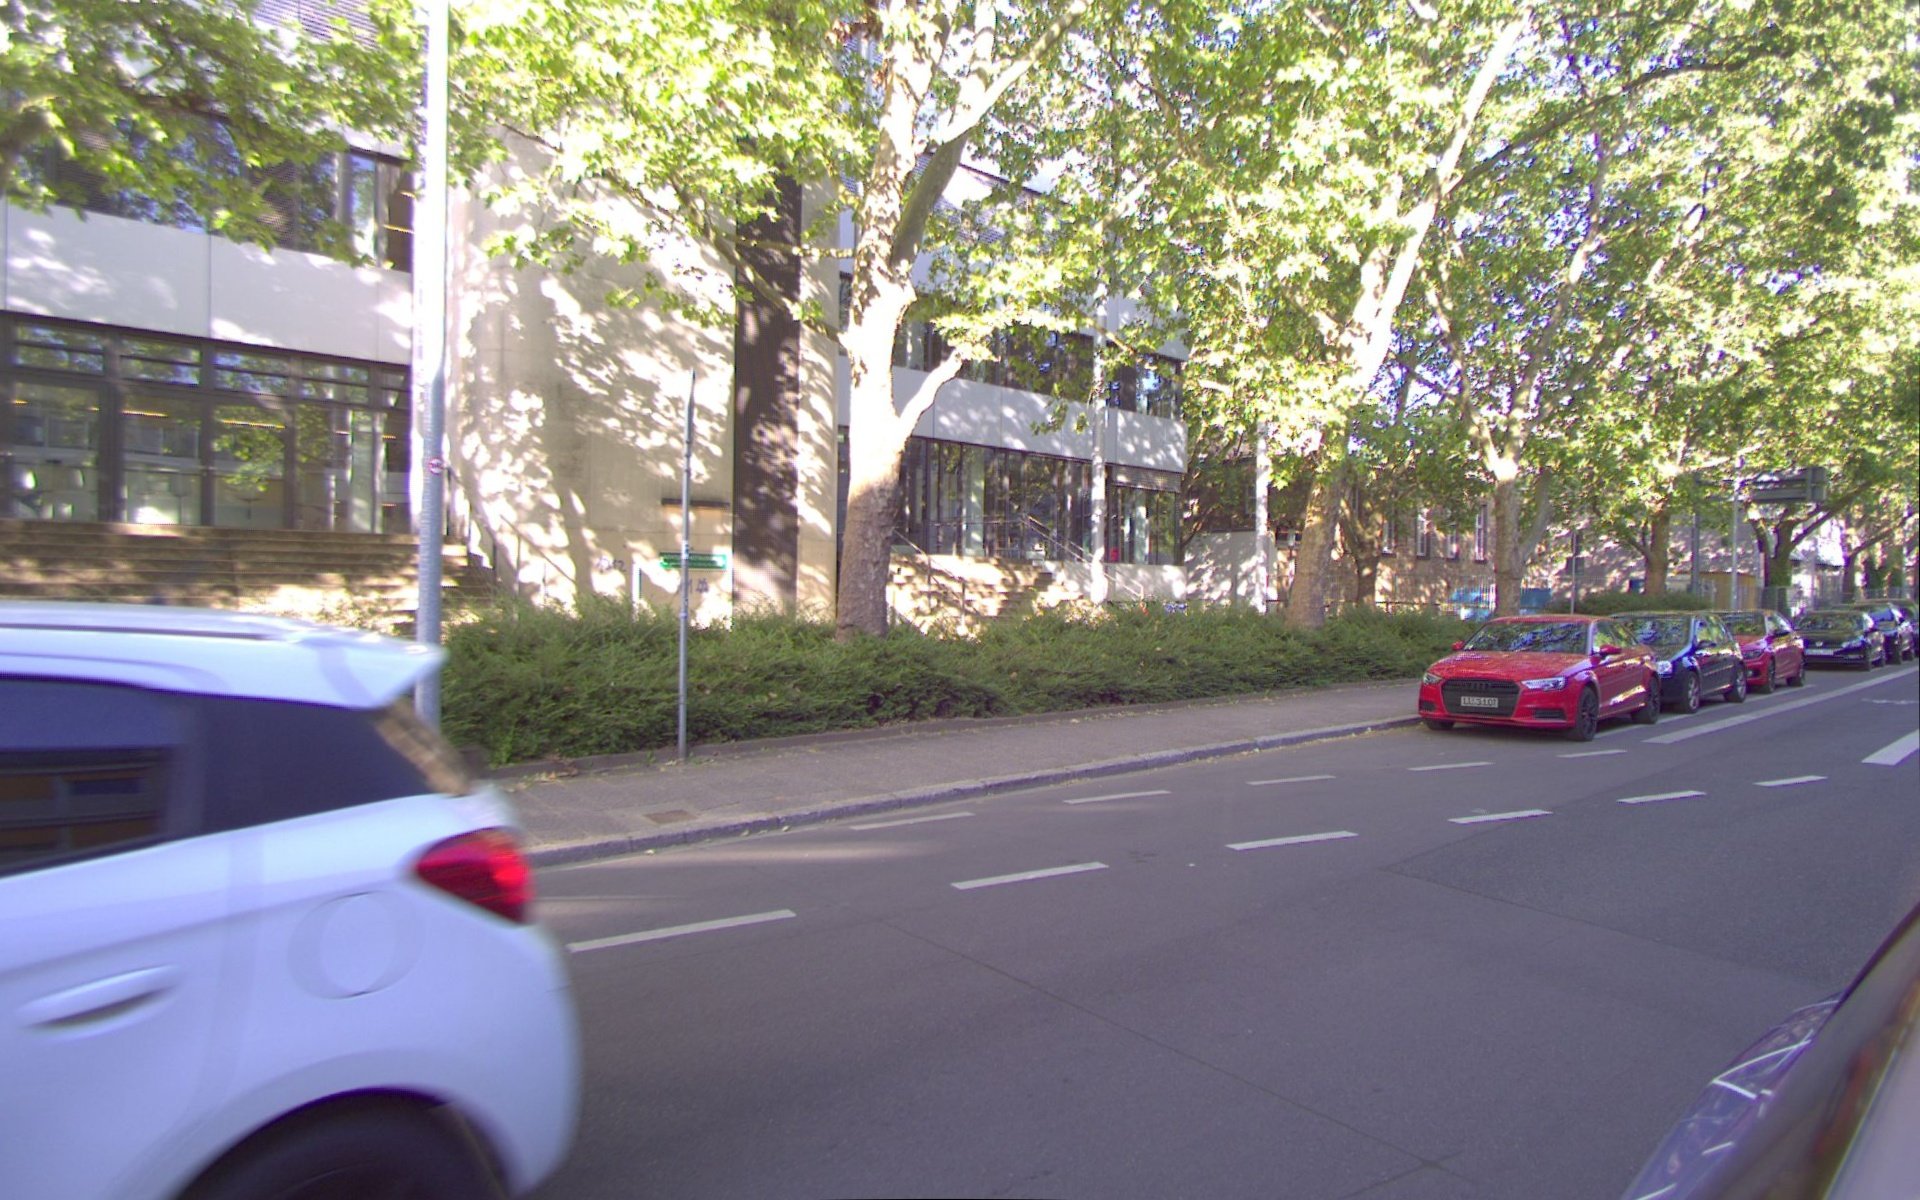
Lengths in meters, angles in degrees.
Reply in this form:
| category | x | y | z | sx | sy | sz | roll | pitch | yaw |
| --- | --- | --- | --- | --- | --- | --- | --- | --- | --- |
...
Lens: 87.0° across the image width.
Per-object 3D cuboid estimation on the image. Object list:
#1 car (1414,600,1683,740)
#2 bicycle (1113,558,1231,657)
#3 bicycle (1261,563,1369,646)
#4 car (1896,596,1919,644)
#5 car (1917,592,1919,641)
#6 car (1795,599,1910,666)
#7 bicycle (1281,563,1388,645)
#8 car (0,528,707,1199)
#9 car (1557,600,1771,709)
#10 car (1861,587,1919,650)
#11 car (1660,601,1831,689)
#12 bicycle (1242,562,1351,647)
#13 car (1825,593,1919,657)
| category | x | y | z | sx | sy | sz | roll | pitch | yaw |
| --- | --- | --- | --- | --- | --- | --- | --- | --- | --- |
| car | 7.521 | 0.758 | 12.748 | 4.360 | 1.468 | 1.694 | 0 | -1 | -43 |
| bicycle | 4.576 | 0.133 | 22.039 | 0.729 | 2.039 | 2.603 | 1 | 1 | -40 |
| bicycle | 9.107 | 0.084 | 26.073 | 0.729 | 2.039 | 2.603 | 1 | 1 | -40 |
| car | 35.148 | 0.687 | 36.467 | 4.256 | 1.649 | 1.694 | 0 | -1 | -43 |
| car | 38.650 | 0.612 | 39.229 | 4.055 | 1.836 | 1.696 | 0 | -1 | -39 |
| car | 22.085 | 0.753 | 24.987 | 3.952 | 1.523 | 1.694 | 0 | -1 | -43 |
| bicycle | 9.821 | 0.076 | 26.643 | 0.729 | 2.039 | 2.603 | 1 | 1 | -40 |
| car | -2.471 | 0.667 | 1.685 | 3.619 | 1.517 | 1.682 | -1 | 0 | -39 |
| car | 11.015 | 0.761 | 15.744 | 3.992 | 1.485 | 1.696 | 0 | -1 | -39 |
| car | 29.987 | 0.570 | 32.235 | 1.823 | 1.865 | 4.825 | -2 | -1 | 41 |
| car | 15.012 | 0.781 | 19.265 | 4.242 | 1.498 | 1.696 | 0 | -1 | -40 |
| bicycle | 8.430 | 0.091 | 25.504 | 0.729 | 2.039 | 2.603 | 1 | 1 | -40 |
| car | 25.853 | 0.668 | 28.409 | 4.541 | 1.649 | 1.778 | 0 | -1 | -42 |
